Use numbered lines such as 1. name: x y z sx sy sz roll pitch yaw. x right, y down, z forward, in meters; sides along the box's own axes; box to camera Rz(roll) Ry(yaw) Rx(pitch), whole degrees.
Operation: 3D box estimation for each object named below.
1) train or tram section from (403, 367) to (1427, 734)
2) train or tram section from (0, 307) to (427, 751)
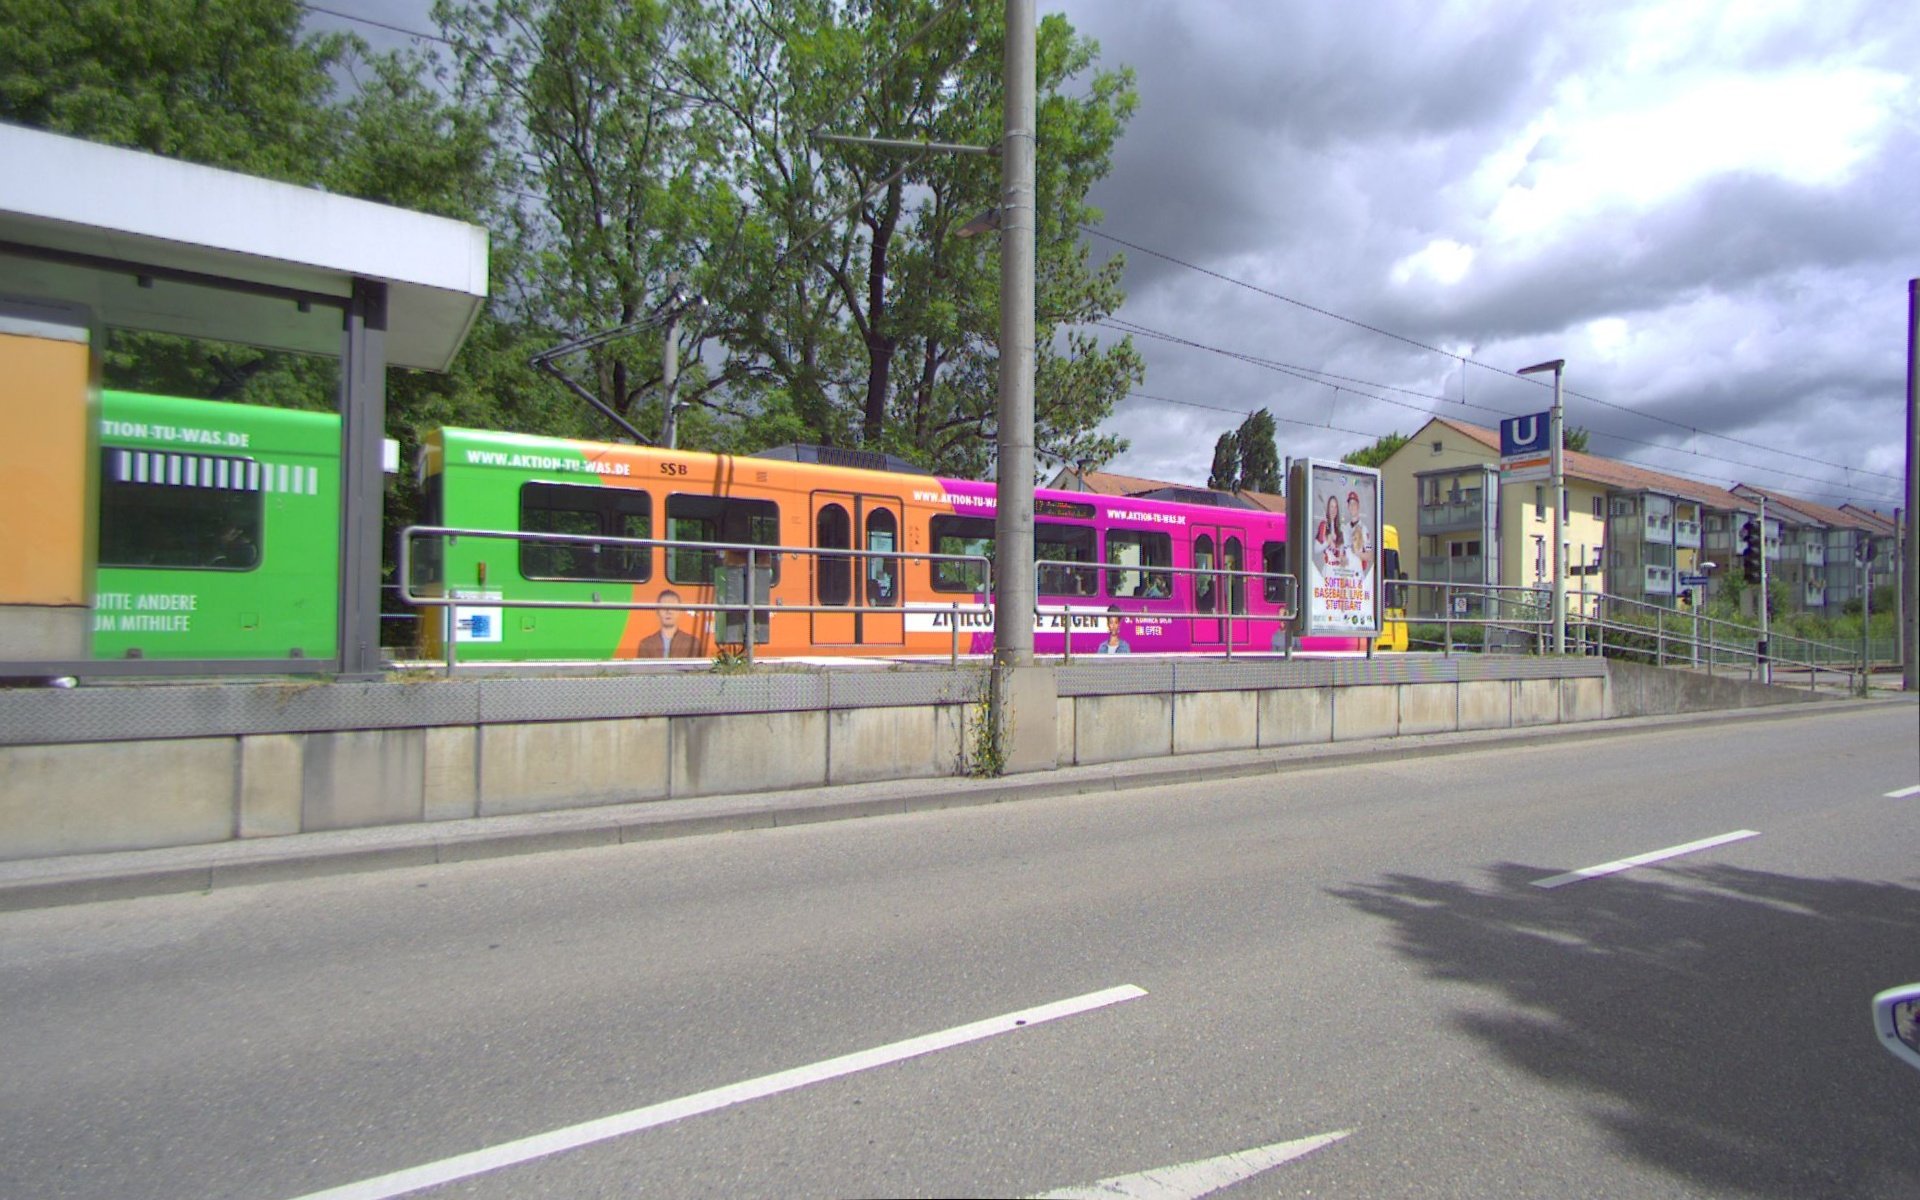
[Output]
1. train or tram section: 1.157 -0.291 17.010 18.340 3.914 2.963 2 0 -33
2. train or tram section: -9.979 -0.664 9.670 8.288 3.914 2.963 2 0 -33
